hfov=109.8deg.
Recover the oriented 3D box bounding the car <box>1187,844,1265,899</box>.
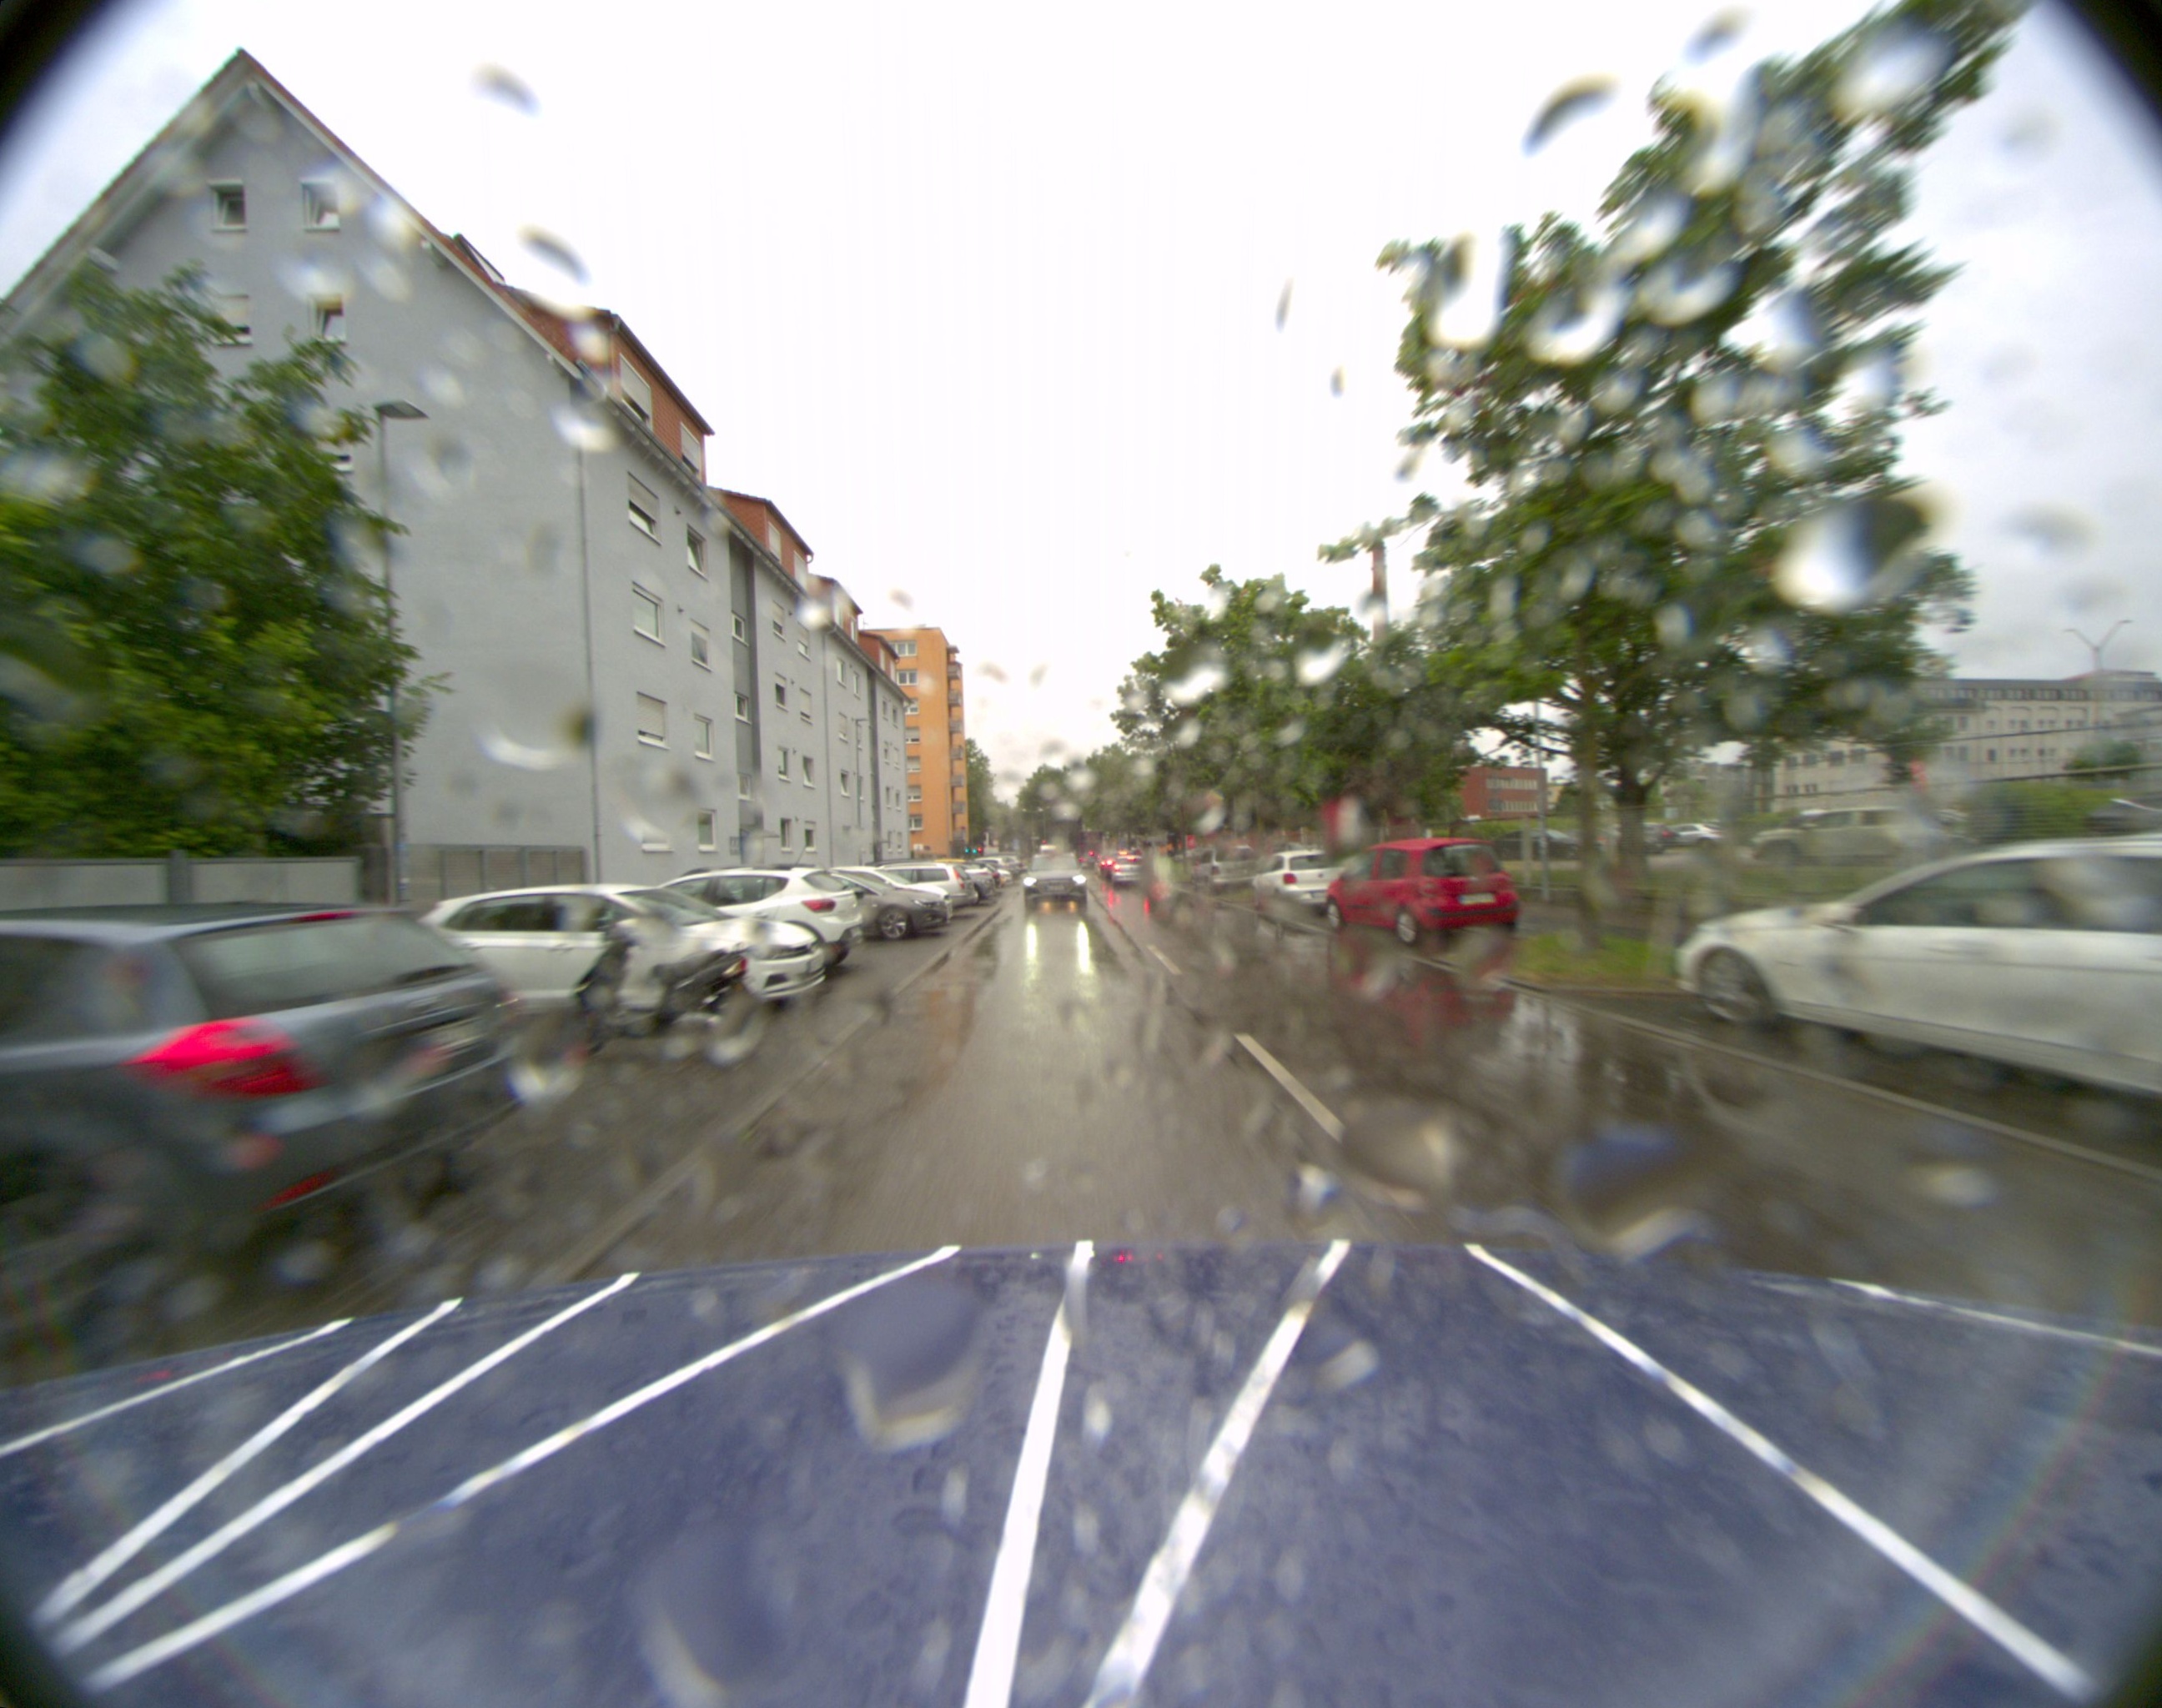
[{"bbox_3d":[4.996,0.546,26.727,1.882,1.672,4.036,-3,1,-1],"label":"car"}]

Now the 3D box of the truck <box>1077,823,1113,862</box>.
[{"bbox_3d":[1.598,-1.366,93.904,3.833,4.360,10.783,-3,1,-1],"label":"truck"}]

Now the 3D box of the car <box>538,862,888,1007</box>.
[{"bbox_3d":[-4.881,1.038,10.494,3.924,1.605,1.691,-3,1,0],"label":"car"}]

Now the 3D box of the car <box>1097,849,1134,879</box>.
[{"bbox_3d":[2.150,0.597,48.741,2.071,1.664,4.173,-3,1,-1],"label":"car"}]

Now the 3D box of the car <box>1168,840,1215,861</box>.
[{"bbox_3d":[10.228,-0.327,70.058,4.006,1.752,1.995,-4,1,-36],"label":"car"}]

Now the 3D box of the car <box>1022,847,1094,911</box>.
[{"bbox_3d":[-0.690,0.694,23.721,1.961,1.702,4.173,-3,1,-1],"label":"car"}]

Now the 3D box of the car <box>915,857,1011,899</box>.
[{"bbox_3d":[-4.783,0.973,31.146,3.618,1.479,1.541,-3,1,0],"label":"car"}]

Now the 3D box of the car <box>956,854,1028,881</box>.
[{"bbox_3d":[-5.441,0.818,46.835,4.171,1.445,1.650,-3,1,0],"label":"car"}]

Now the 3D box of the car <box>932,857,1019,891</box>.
[{"bbox_3d":[-5.371,1.002,38.950,4.171,1.445,1.650,-3,1,0],"label":"car"}]

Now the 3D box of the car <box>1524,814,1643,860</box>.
[{"bbox_3d":[22.552,-0.718,34.231,2.003,1.871,3.990,-4,1,-33],"label":"car"}]

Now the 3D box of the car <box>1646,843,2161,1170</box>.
[{"bbox_3d":[5.898,0.707,4.285,1.779,1.452,4.678,-3,1,-2],"label":"car"}]

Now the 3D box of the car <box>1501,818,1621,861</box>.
[{"bbox_3d":[20.834,-0.605,33.125,1.774,1.660,3.990,-4,1,-33],"label":"car"}]

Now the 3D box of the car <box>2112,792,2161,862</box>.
[{"bbox_3d":[24.522,-0.633,15.459,1.762,1.486,3.991,-3,1,-29],"label":"car"}]

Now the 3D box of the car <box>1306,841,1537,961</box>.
[{"bbox_3d":[5.365,0.638,12.561,1.629,1.589,3.794,-3,1,-9],"label":"car"}]

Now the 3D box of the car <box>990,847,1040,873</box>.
[{"bbox_3d":[-5.677,0.480,65.398,3.997,2.002,2.000,-3,1,0],"label":"car"}]

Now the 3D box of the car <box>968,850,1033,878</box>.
[{"bbox_3d":[-5.433,0.667,51.694,4.171,1.596,1.650,-3,1,0],"label":"car"}]

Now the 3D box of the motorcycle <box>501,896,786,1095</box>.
[{"bbox_3d":[-3.420,1.082,6.065,1.767,1.365,0.734,-3,1,0],"label":"motorcycle"}]

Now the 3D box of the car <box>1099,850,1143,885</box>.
[{"bbox_3d":[2.146,0.687,41.670,2.071,1.732,4.173,-3,1,-1],"label":"car"}]

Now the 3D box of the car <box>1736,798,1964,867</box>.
[{"bbox_3d":[20.752,-0.526,20.661,2.070,1.660,3.990,-4,1,-33],"label":"car"}]

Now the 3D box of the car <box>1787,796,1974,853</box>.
[{"bbox_3d":[26.597,-0.944,25.398,2.070,1.660,3.990,-4,1,-33],"label":"car"}]

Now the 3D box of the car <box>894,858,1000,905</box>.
[{"bbox_3d":[-4.944,1.009,28.415,3.618,1.479,1.541,-3,1,0],"label":"car"}]

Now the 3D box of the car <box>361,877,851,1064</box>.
[{"bbox_3d":[-4.722,1.123,8.044,3.924,1.472,1.856,-3,1,0],"label":"car"}]

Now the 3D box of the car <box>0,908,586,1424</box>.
[{"bbox_3d":[-4.834,1.112,3.272,4.064,1.446,1.934,-3,-1,-1],"label":"car"}]

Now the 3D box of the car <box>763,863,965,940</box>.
[{"bbox_3d":[-5.017,1.086,18.023,4.171,1.468,1.919,-3,1,0],"label":"car"}]

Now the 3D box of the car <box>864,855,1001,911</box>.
[{"bbox_3d":[-4.867,0.940,25.330,4.171,1.561,1.650,-3,1,0],"label":"car"}]

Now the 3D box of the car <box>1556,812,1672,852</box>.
[{"bbox_3d":[24.640,-0.990,35.269,1.774,1.660,3.990,-4,1,-33],"label":"car"}]

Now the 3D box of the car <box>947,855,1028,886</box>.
[{"bbox_3d":[-5.095,0.894,41.641,4.171,1.445,1.650,-3,1,0],"label":"car"}]

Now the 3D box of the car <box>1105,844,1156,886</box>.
[{"bbox_3d":[2.243,0.464,35.657,2.071,1.732,4.174,-3,1,0],"label":"car"}]

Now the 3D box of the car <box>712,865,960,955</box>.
[{"bbox_3d":[-4.895,1.101,15.706,4.388,1.468,2.050,-3,1,0],"label":"car"}]

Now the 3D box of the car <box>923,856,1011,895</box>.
[{"bbox_3d":[-5.012,0.945,33.802,3.618,1.479,1.541,-3,1,0],"label":"car"}]

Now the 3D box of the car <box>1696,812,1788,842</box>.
[{"bbox_3d":[41.477,-1.671,47.771,1.774,1.660,3.990,-4,1,-33],"label":"car"}]

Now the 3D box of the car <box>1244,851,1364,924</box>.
[{"bbox_3d":[5.135,0.704,17.962,1.694,1.445,3.718,-3,1,0],"label":"car"}]

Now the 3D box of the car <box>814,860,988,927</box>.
[{"bbox_3d":[-4.696,1.026,20.234,4.171,1.468,1.650,-3,1,0],"label":"car"}]

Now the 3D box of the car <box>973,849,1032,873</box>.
[{"bbox_3d":[-5.854,0.506,56.989,4.171,1.596,1.650,-3,1,0],"label":"car"}]

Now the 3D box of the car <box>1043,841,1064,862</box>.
[{"bbox_3d":[-3.089,-0.303,85.651,2.194,2.242,4.883,-3,1,-1],"label":"car"}]

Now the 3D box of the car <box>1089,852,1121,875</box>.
[{"bbox_3d":[1.704,0.675,55.778,2.071,1.436,4.173,-3,1,-1],"label":"car"}]
